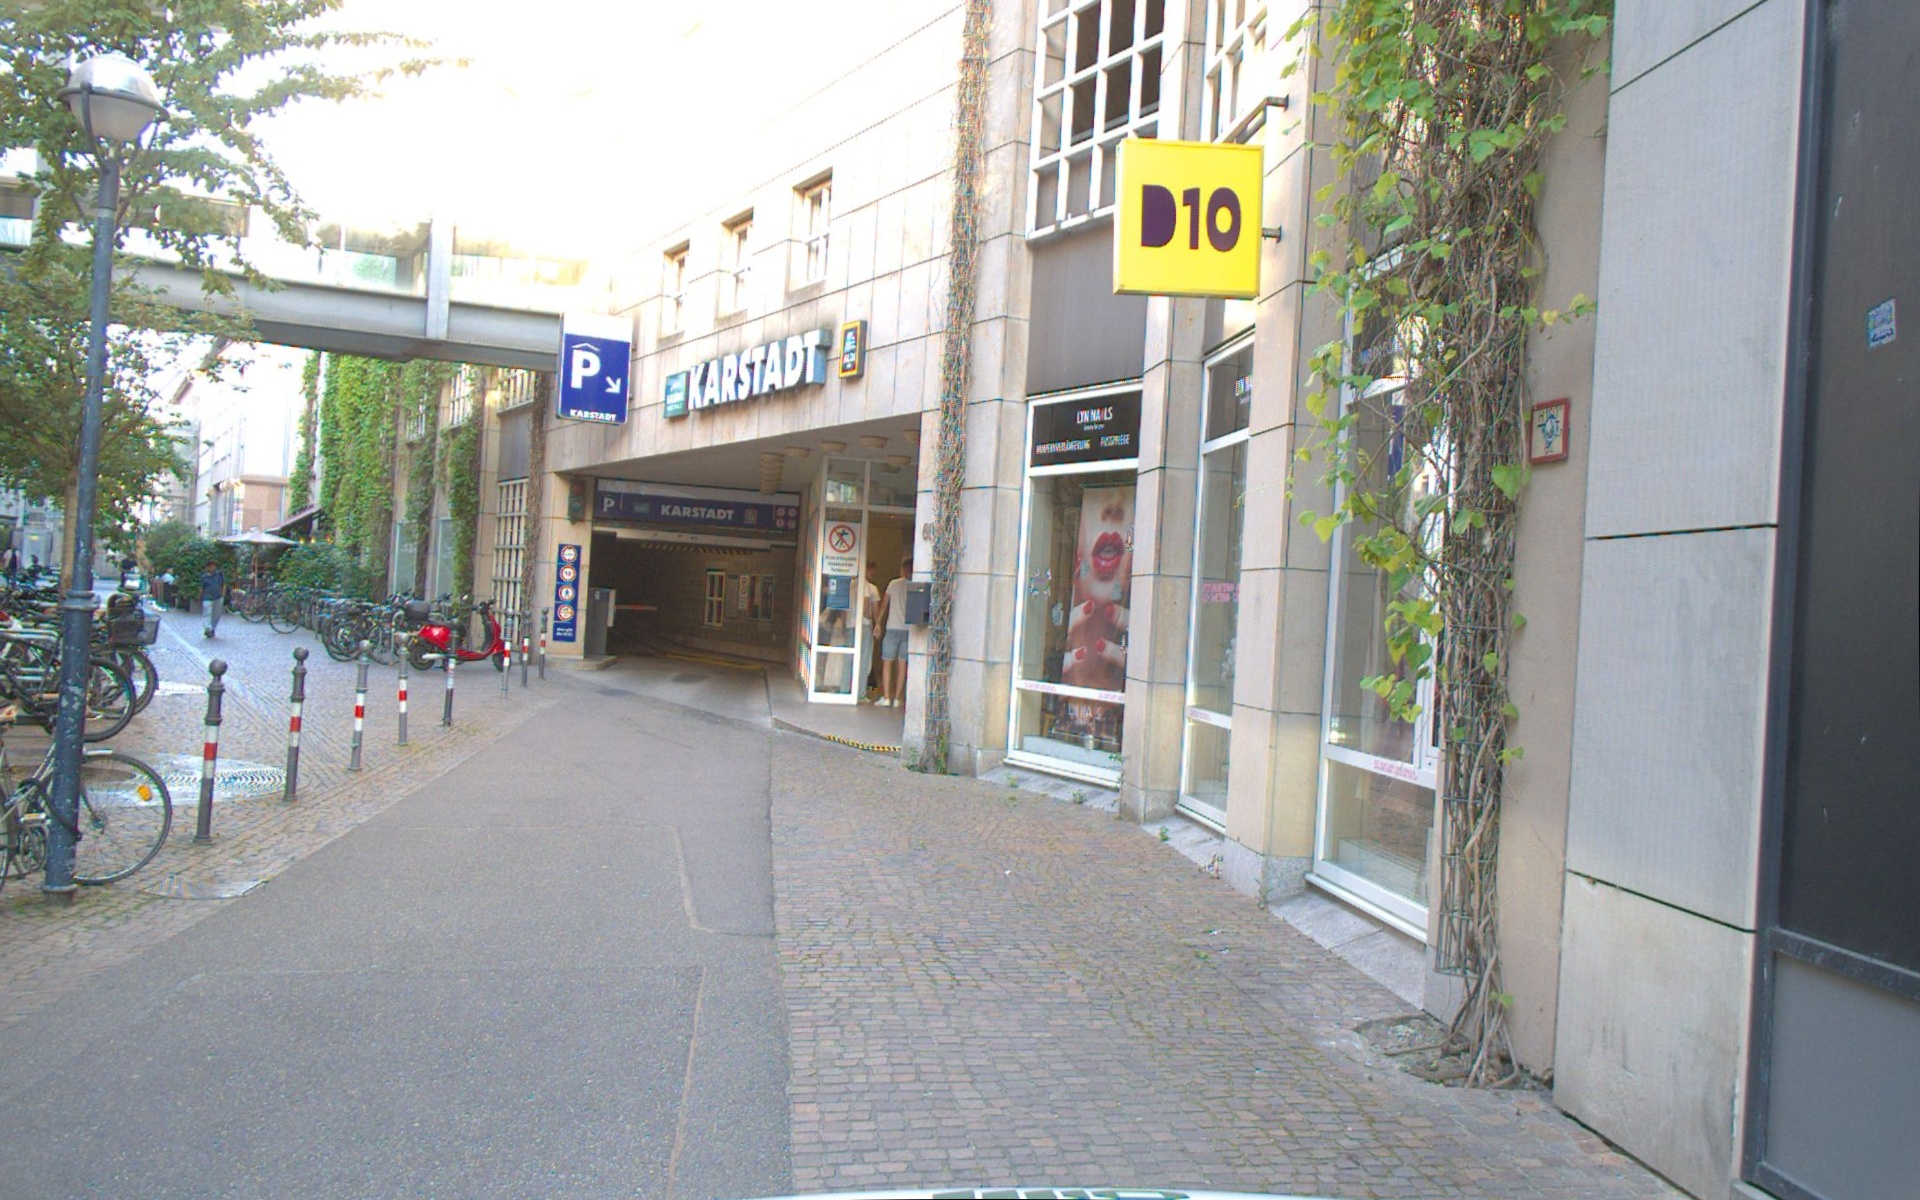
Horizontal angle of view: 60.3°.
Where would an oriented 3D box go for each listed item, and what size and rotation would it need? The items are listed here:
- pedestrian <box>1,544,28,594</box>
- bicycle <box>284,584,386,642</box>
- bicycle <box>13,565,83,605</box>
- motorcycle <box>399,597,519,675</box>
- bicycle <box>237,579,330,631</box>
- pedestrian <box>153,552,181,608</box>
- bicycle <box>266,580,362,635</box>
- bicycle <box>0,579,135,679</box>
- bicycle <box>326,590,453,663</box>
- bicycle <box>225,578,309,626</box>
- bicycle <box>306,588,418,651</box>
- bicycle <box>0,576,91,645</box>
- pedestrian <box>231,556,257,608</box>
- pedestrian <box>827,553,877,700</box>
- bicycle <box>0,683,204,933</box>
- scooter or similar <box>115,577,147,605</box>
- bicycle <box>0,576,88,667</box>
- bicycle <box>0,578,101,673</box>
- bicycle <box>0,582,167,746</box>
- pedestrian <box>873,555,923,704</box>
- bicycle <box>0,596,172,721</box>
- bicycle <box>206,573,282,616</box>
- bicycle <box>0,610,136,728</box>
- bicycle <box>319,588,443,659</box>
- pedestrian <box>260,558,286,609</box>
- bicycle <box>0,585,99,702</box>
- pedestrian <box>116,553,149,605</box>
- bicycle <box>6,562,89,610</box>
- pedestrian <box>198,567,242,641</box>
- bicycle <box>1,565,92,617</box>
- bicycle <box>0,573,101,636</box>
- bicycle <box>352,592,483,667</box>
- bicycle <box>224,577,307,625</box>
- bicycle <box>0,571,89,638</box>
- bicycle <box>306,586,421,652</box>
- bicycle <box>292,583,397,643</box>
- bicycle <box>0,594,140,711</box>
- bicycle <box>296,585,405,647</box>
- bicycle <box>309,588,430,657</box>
[{"bbox_3d":[-36.095,-1.181,63.137,0.765,1.836,0.629,3,0,-26],"label":"pedestrian"},{"bbox_3d":[-13.359,0.275,35.384,1.970,1.203,0.688,1,0,-27],"label":"bicycle"},{"bbox_3d":[-29.941,-0.494,54.341,1.888,1.203,0.691,3,0,-25],"label":"bicycle"},{"bbox_3d":[-7.833,0.563,25.874,1.723,1.175,0.590,1,0,-25],"label":"motorcycle"},{"bbox_3d":[-16.045,0.119,39.227,1.970,1.203,0.688,1,0,-27],"label":"bicycle"},{"bbox_3d":[-26.549,-0.672,55.359,0.756,1.836,0.770,3,0,-29],"label":"pedestrian"},{"bbox_3d":[-14.675,0.170,37.583,1.970,1.203,0.688,1,0,-27],"label":"bicycle"},{"bbox_3d":[-11.697,0.363,21.235,1.888,1.203,0.691,3,0,-25],"label":"bicycle"},{"bbox_3d":[-9.710,0.447,28.172,1.970,1.203,0.690,1,0,-27],"label":"bicycle"},{"bbox_3d":[-17.950,0.061,42.845,1.970,1.203,0.688,1,0,-27],"label":"bicycle"},{"bbox_3d":[-11.708,0.384,32.392,1.970,1.203,0.688,1,0,-27],"label":"bicycle"},{"bbox_3d":[-17.264,0.195,30.729,1.888,1.203,0.691,3,0,-25],"label":"bicycle"},{"bbox_3d":[-25.986,-0.654,60.026,0.765,1.836,0.761,3,0,-26],"label":"pedestrian"},{"bbox_3d":[-1.402,0.338,21.581,0.531,1.878,0.408,3,0,-1],"label":"pedestrian"},{"bbox_3d":[-4.258,0.928,7.676,0.494,0.983,1.696,2,0,8],"label":"bicycle"},{"bbox_3d":[-27.383,-0.303,54.625,0.881,0.858,0.903,3,0,-29],"label":"scooter or similar"},{"bbox_3d":[-13.161,0.280,22.830,1.888,1.203,0.691,3,0,-25],"label":"bicycle"},{"bbox_3d":[-12.481,0.320,21.873,1.888,1.203,0.691,3,0,-25],"label":"bicycle"},{"bbox_3d":[-7.610,0.515,13.616,1.891,1.283,0.801,3,0,-28],"label":"bicycle"},{"bbox_3d":[-0.802,0.375,21.424,0.531,1.894,0.408,3,0,-1],"label":"pedestrian"},{"bbox_3d":[-8.620,0.557,15.828,1.891,1.121,0.690,3,0,-28],"label":"bicycle"},{"bbox_3d":[-20.703,-0.165,47.810,1.970,1.203,0.688,1,0,-27],"label":"bicycle"},{"bbox_3d":[-8.511,0.609,14.917,1.891,1.011,0.690,3,0,-28],"label":"bicycle"},{"bbox_3d":[-10.148,0.412,29.001,1.970,1.203,0.796,1,1,-27],"label":"bicycle"},{"bbox_3d":[-25.005,-0.601,60.198,0.765,1.836,0.761,3,0,-26],"label":"pedestrian"},{"bbox_3d":[-10.335,0.440,17.698,1.888,1.203,0.691,3,0,-25],"label":"bicycle"},{"bbox_3d":[-27.733,-0.710,55.431,0.881,1.668,0.903,3,0,-29],"label":"pedestrian"},{"bbox_3d":[-25.027,-0.390,45.390,1.888,1.203,0.691,3,0,-25],"label":"bicycle"},{"bbox_3d":[-15.798,0.077,35.310,0.740,1.536,0.632,3,0,-29],"label":"pedestrian"},{"bbox_3d":[-22.935,-0.220,41.556,1.888,1.203,0.691,3,0,-25],"label":"bicycle"},{"bbox_3d":[-18.881,0.094,34.182,1.888,1.203,0.691,3,0,-25],"label":"bicycle"},{"bbox_3d":[-8.979,0.487,27.406,1.970,1.203,0.690,1,0,-27],"label":"bicycle"},{"bbox_3d":[-18.317,0.029,43.612,1.970,1.203,0.688,1,0,-27],"label":"bicycle"},{"bbox_3d":[-17.711,0.072,31.482,1.888,1.203,0.691,3,0,-25],"label":"bicycle"},{"bbox_3d":[-11.334,0.361,31.447,1.970,1.203,0.796,1,1,-27],"label":"bicycle"},{"bbox_3d":[-12.793,0.279,34.379,1.970,1.203,0.688,1,0,-27],"label":"bicycle"},{"bbox_3d":[-9.480,0.525,16.907,1.888,1.121,0.691,3,0,-25],"label":"bicycle"},{"bbox_3d":[-12.231,0.327,33.210,1.970,1.203,0.688,1,0,-27],"label":"bicycle"},{"bbox_3d":[-10.729,0.414,30.064,1.970,1.203,0.796,1,1,-27],"label":"bicycle"}]
